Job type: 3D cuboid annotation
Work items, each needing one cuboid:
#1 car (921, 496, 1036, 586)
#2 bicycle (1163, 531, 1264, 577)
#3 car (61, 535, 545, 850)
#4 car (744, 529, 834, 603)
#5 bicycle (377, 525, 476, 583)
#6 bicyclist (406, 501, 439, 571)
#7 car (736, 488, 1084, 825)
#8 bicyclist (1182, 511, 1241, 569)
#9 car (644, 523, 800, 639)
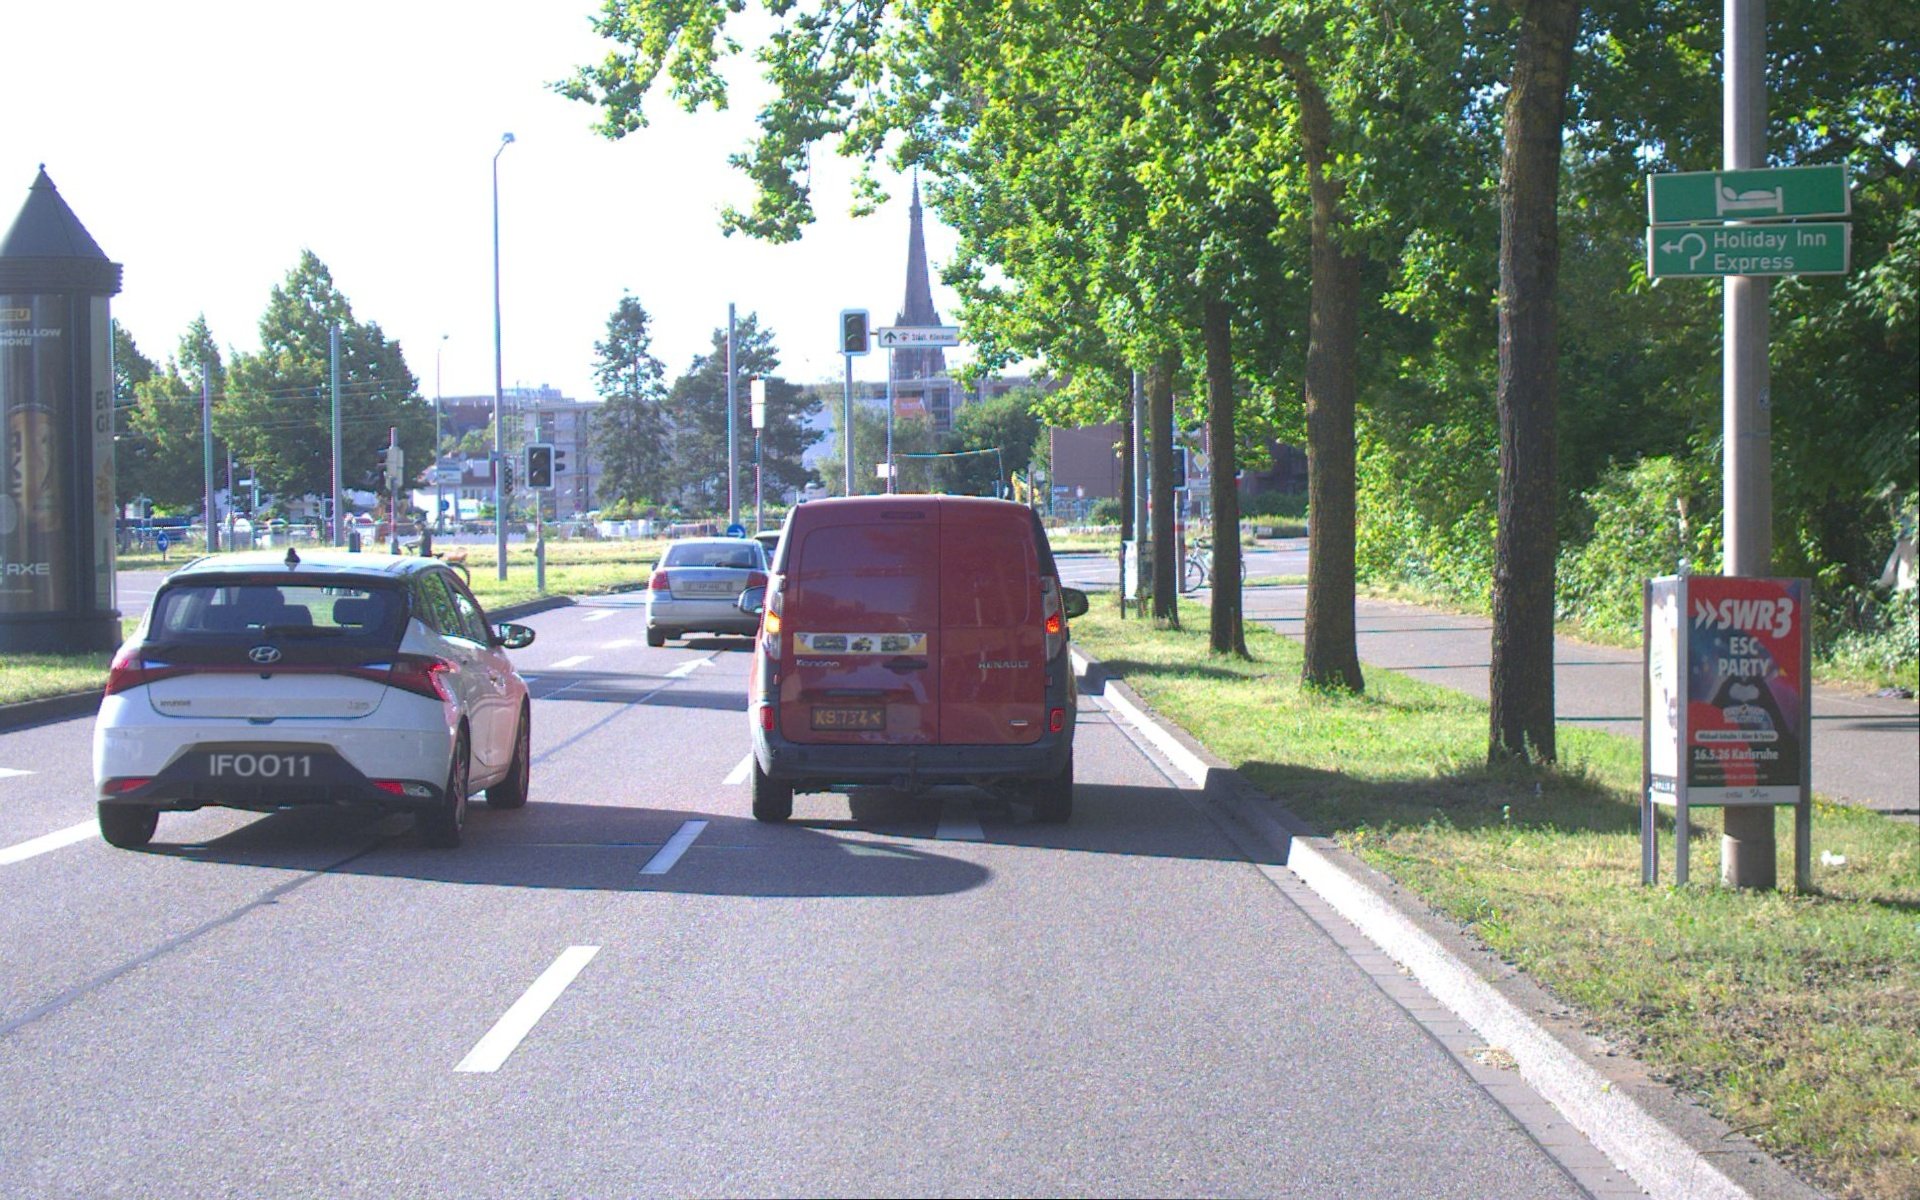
[{"bbox_3d":[0.397,-1.208,69.257,1.660,1.755,3.496,-1,1,11],"label":"car"},{"bbox_3d":[5.487,-0.997,74.340,2.119,0.954,0.789,-2,2,-32],"label":"bicycle"},{"bbox_3d":[-3.317,0.395,18.126,1.778,1.404,4.075,0,2,0],"label":"car"},{"bbox_3d":[-3.400,-0.702,68.823,1.661,1.393,3.559,-1,2,-1],"label":"car"},{"bbox_3d":[-11.135,-0.967,71.801,1.958,1.162,0.517,-1,1,-1],"label":"bicycle"},{"bbox_3d":[-11.220,-1.340,71.791,0.603,1.463,0.517,-1,1,-1],"label":"bicyclist"},{"bbox_3d":[-0.284,0.231,19.959,1.806,1.753,4.006,0,2,-1],"label":"car"},{"bbox_3d":[5.434,-1.296,74.311,0.968,1.245,0.789,-2,1,-32],"label":"bicyclist"},{"bbox_3d":[-3.213,-0.292,47.069,1.841,1.451,4.163,0,2,0],"label":"car"}]
